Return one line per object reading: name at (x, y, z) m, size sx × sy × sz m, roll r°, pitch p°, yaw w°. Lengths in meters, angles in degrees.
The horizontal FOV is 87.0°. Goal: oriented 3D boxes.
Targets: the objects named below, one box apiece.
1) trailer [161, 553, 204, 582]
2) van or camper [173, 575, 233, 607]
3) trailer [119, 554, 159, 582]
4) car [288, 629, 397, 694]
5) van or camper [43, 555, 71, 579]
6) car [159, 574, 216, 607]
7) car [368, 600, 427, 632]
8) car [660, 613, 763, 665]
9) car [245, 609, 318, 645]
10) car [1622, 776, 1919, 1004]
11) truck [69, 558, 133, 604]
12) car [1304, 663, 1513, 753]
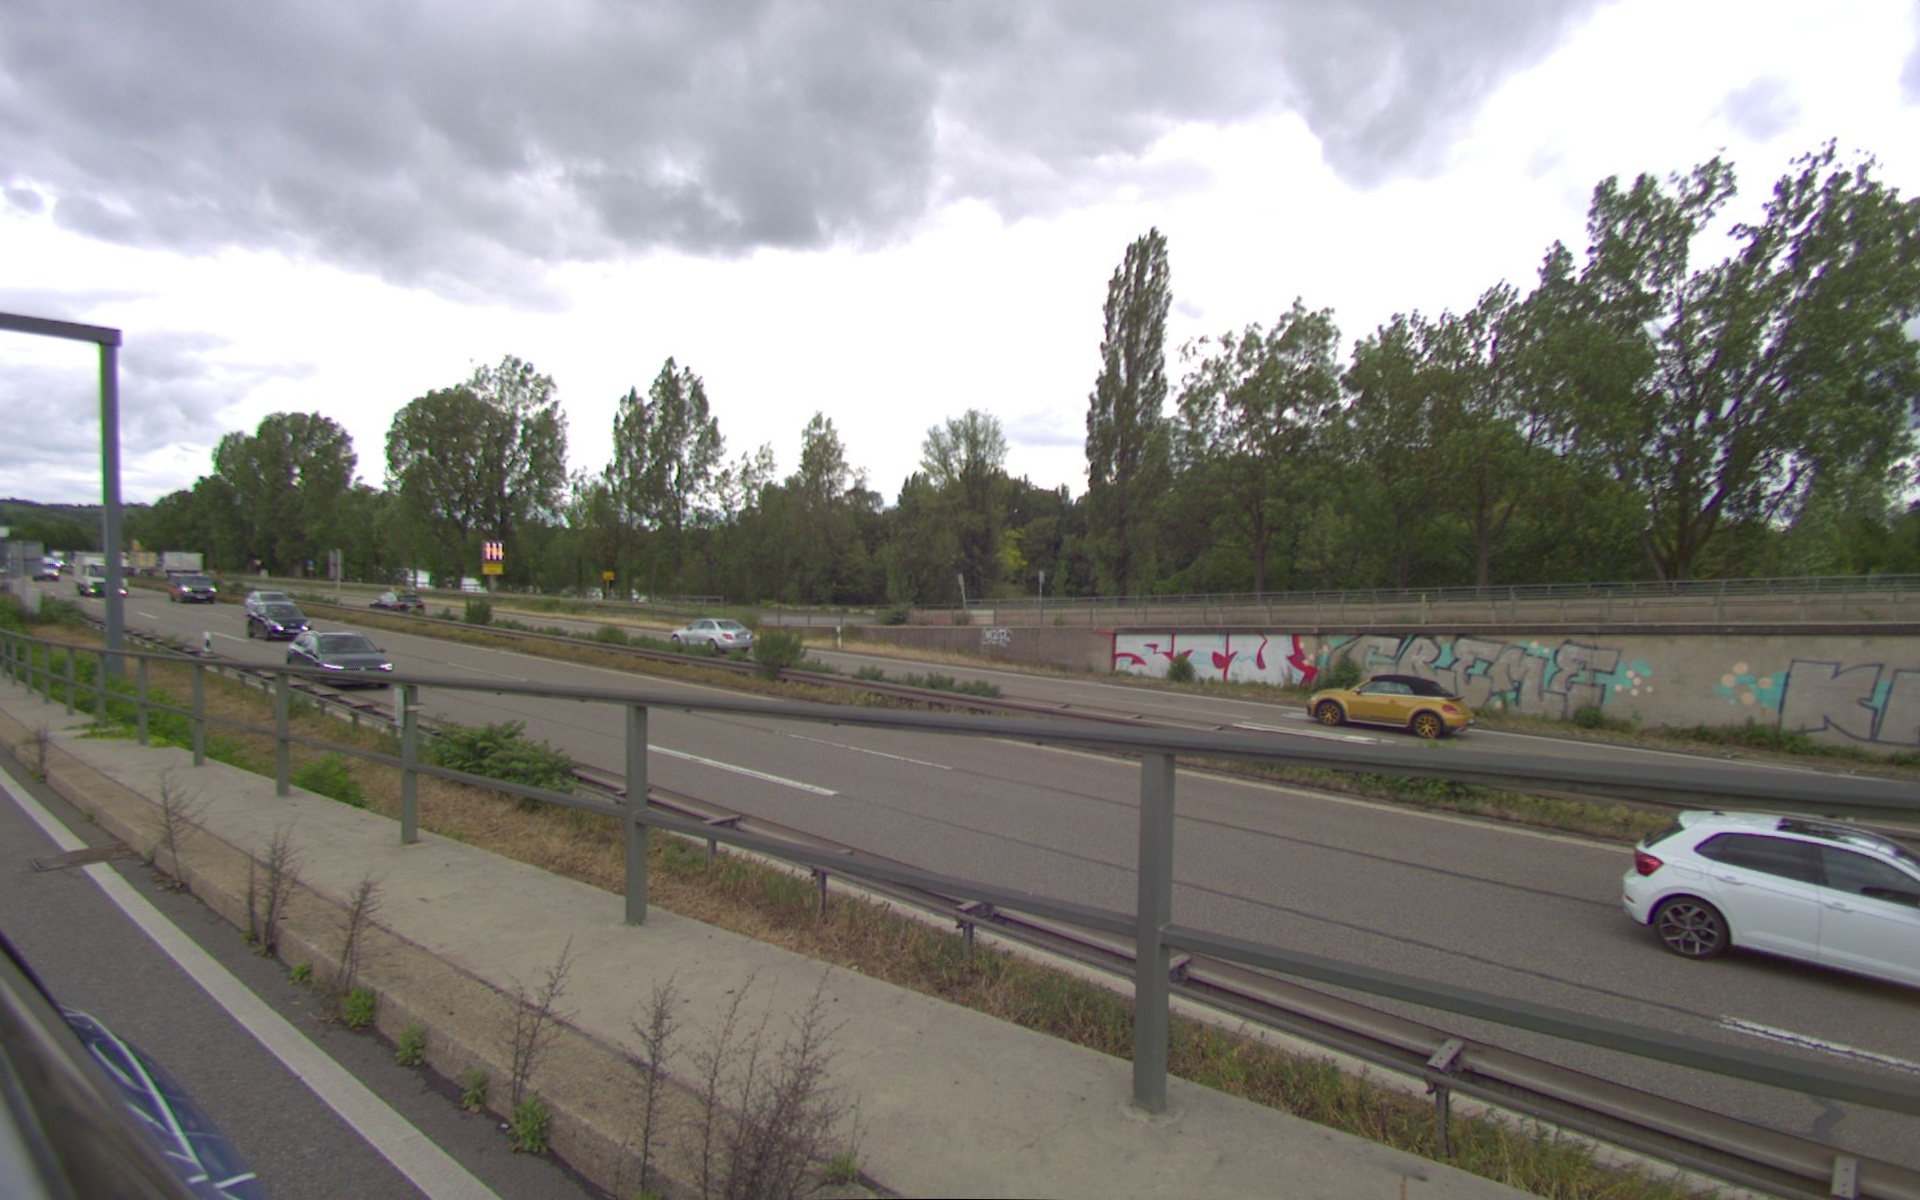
trailer at (-109.699, -4.650, 142.681) m, size 13.517 × 3.978 × 2.759 m, roll 3°, pitch 3°, yaw 44°
van or camper at (-50.241, -0.629, 67.102) m, size 6.345 × 1.882 × 1.863 m, roll 3°, pitch 3°, yaw 41°
trailer at (-142.213, -5.548, 175.161) m, size 14.784 × 4.708 × 3.426 m, roll 2°, pitch 2°, yaw 43°
car at (-17.326, 1.656, 28.302) m, size 1.911 × 1.512 × 4.310 m, roll 2°, pitch 0°, yaw -41°
van or camper at (-102.108, -3.723, 114.463) m, size 2.178 × 2.623 × 6.335 m, roll -1°, pitch 3°, yaw -43°
car at (-53.362, -0.650, 69.835) m, size 5.337 × 2.028 × 2.072 m, roll 3°, pitch 2°, yaw 41°
car at (-33.469, 0.943, 60.166) m, size 4.001 × 1.741 × 1.971 m, roll 2°, pitch 1°, yaw 44°
car at (-10.820, 1.651, 43.930) m, size 4.703 × 1.704 × 1.972 m, roll 7°, pitch 4°, yaw 41°
car at (-28.442, 1.097, 42.371) m, size 3.647 × 1.337 × 1.705 m, roll 2°, pitch 1°, yaw 42°
car at (9.154, 2.912, 10.067) m, size 4.002 × 1.511 × 1.833 m, roll 2°, pitch 1°, yaw 44°
truck at (-63.966, -1.459, 75.325) m, size 2.997 × 3.182 × 7.574 m, roll 1°, pitch 1°, yaw -45°
car at (11.885, 2.780, 27.009) m, size 4.701 × 1.732 × 1.973 m, roll 3°, pitch 1°, yaw 40°
